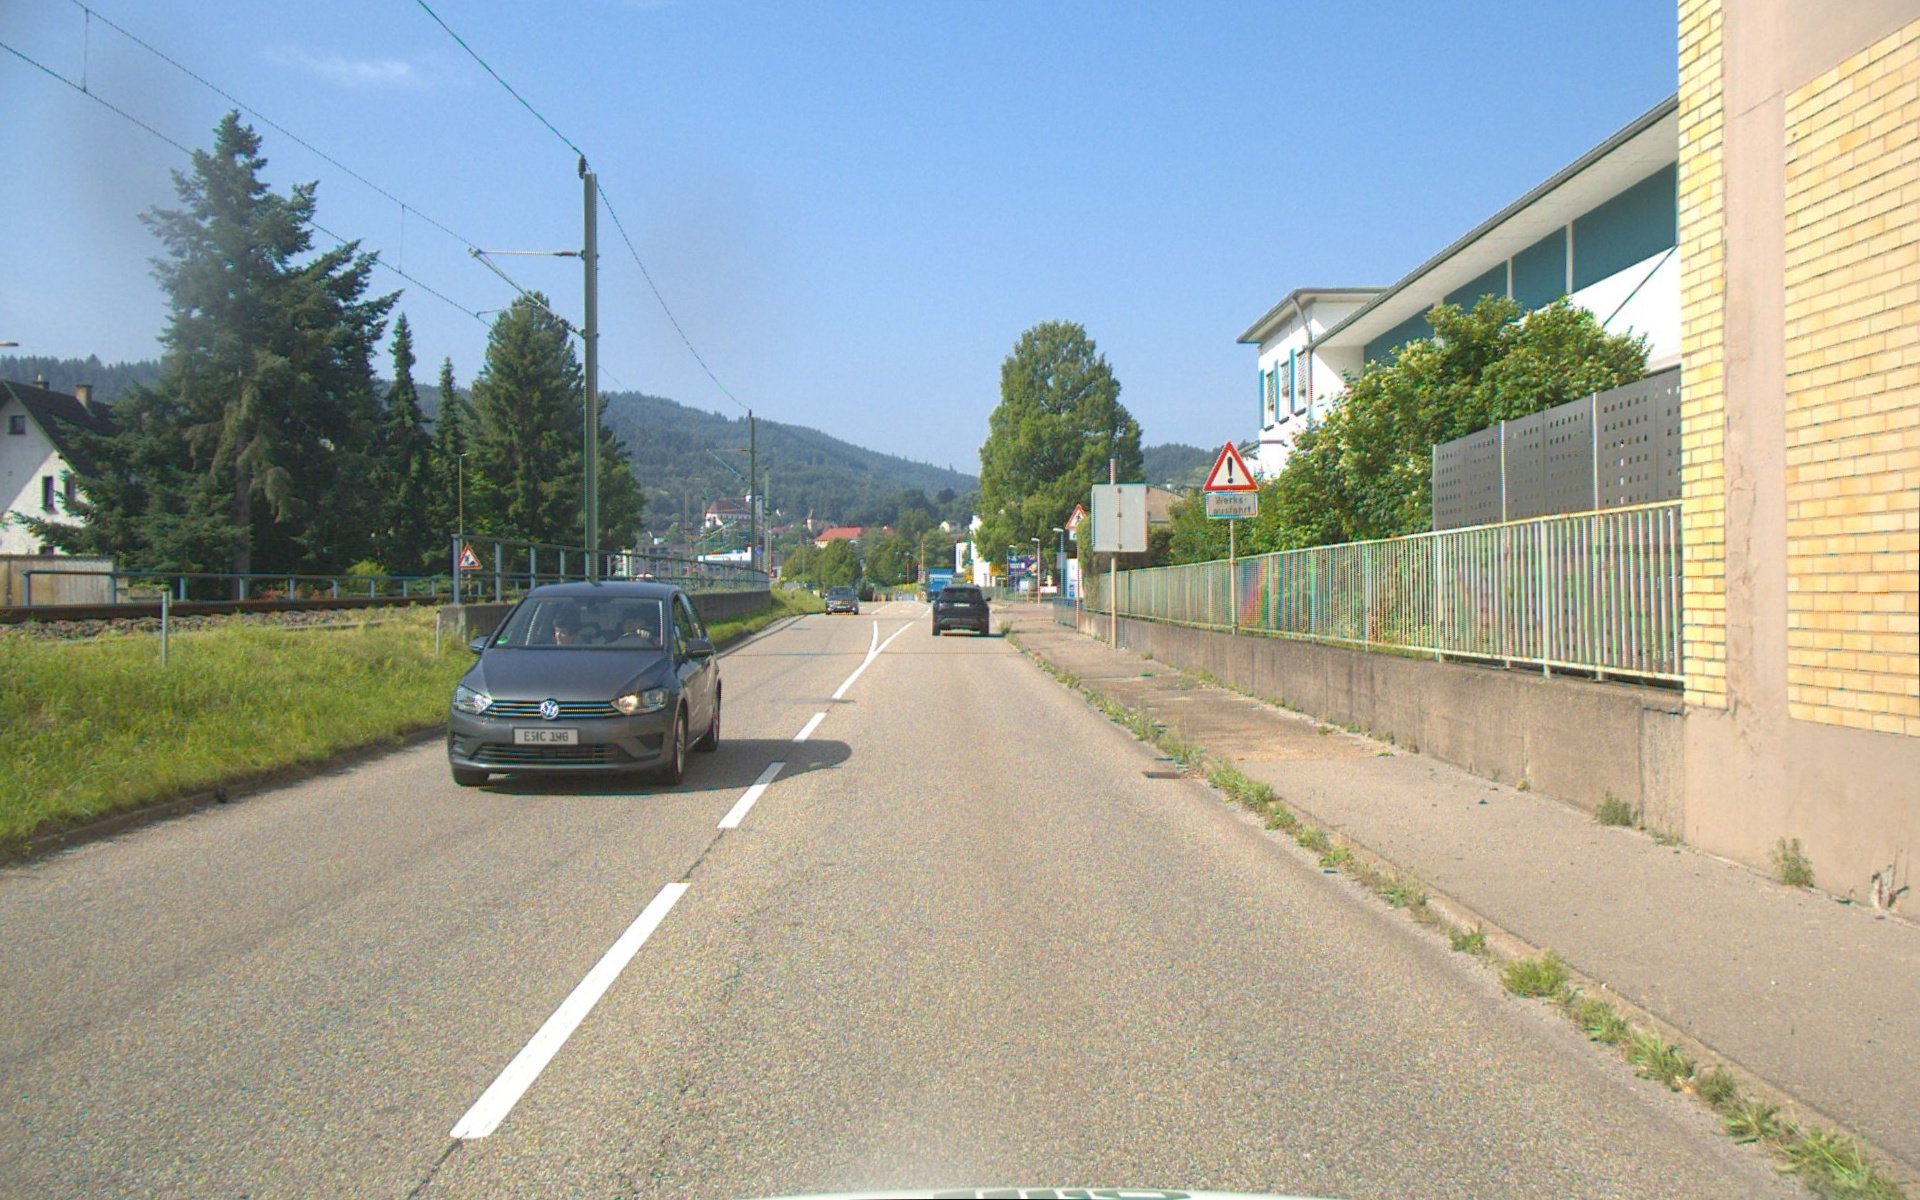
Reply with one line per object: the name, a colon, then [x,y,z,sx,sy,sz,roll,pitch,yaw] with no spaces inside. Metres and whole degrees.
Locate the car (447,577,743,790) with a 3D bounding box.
car: [-2.947,0.602,14.193,1.696,1.552,4.091,0,0,-1]

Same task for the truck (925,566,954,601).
truck: [-1.878,-1.489,146.720,2.267,3.022,5.962,-1,1,-4]

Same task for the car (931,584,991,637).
car: [0.062,0.317,54.315,1.880,1.668,4.000,0,0,1]

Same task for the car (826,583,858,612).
car: [-6.516,-0.156,91.393,1.707,1.533,4.197,0,0,-3]
